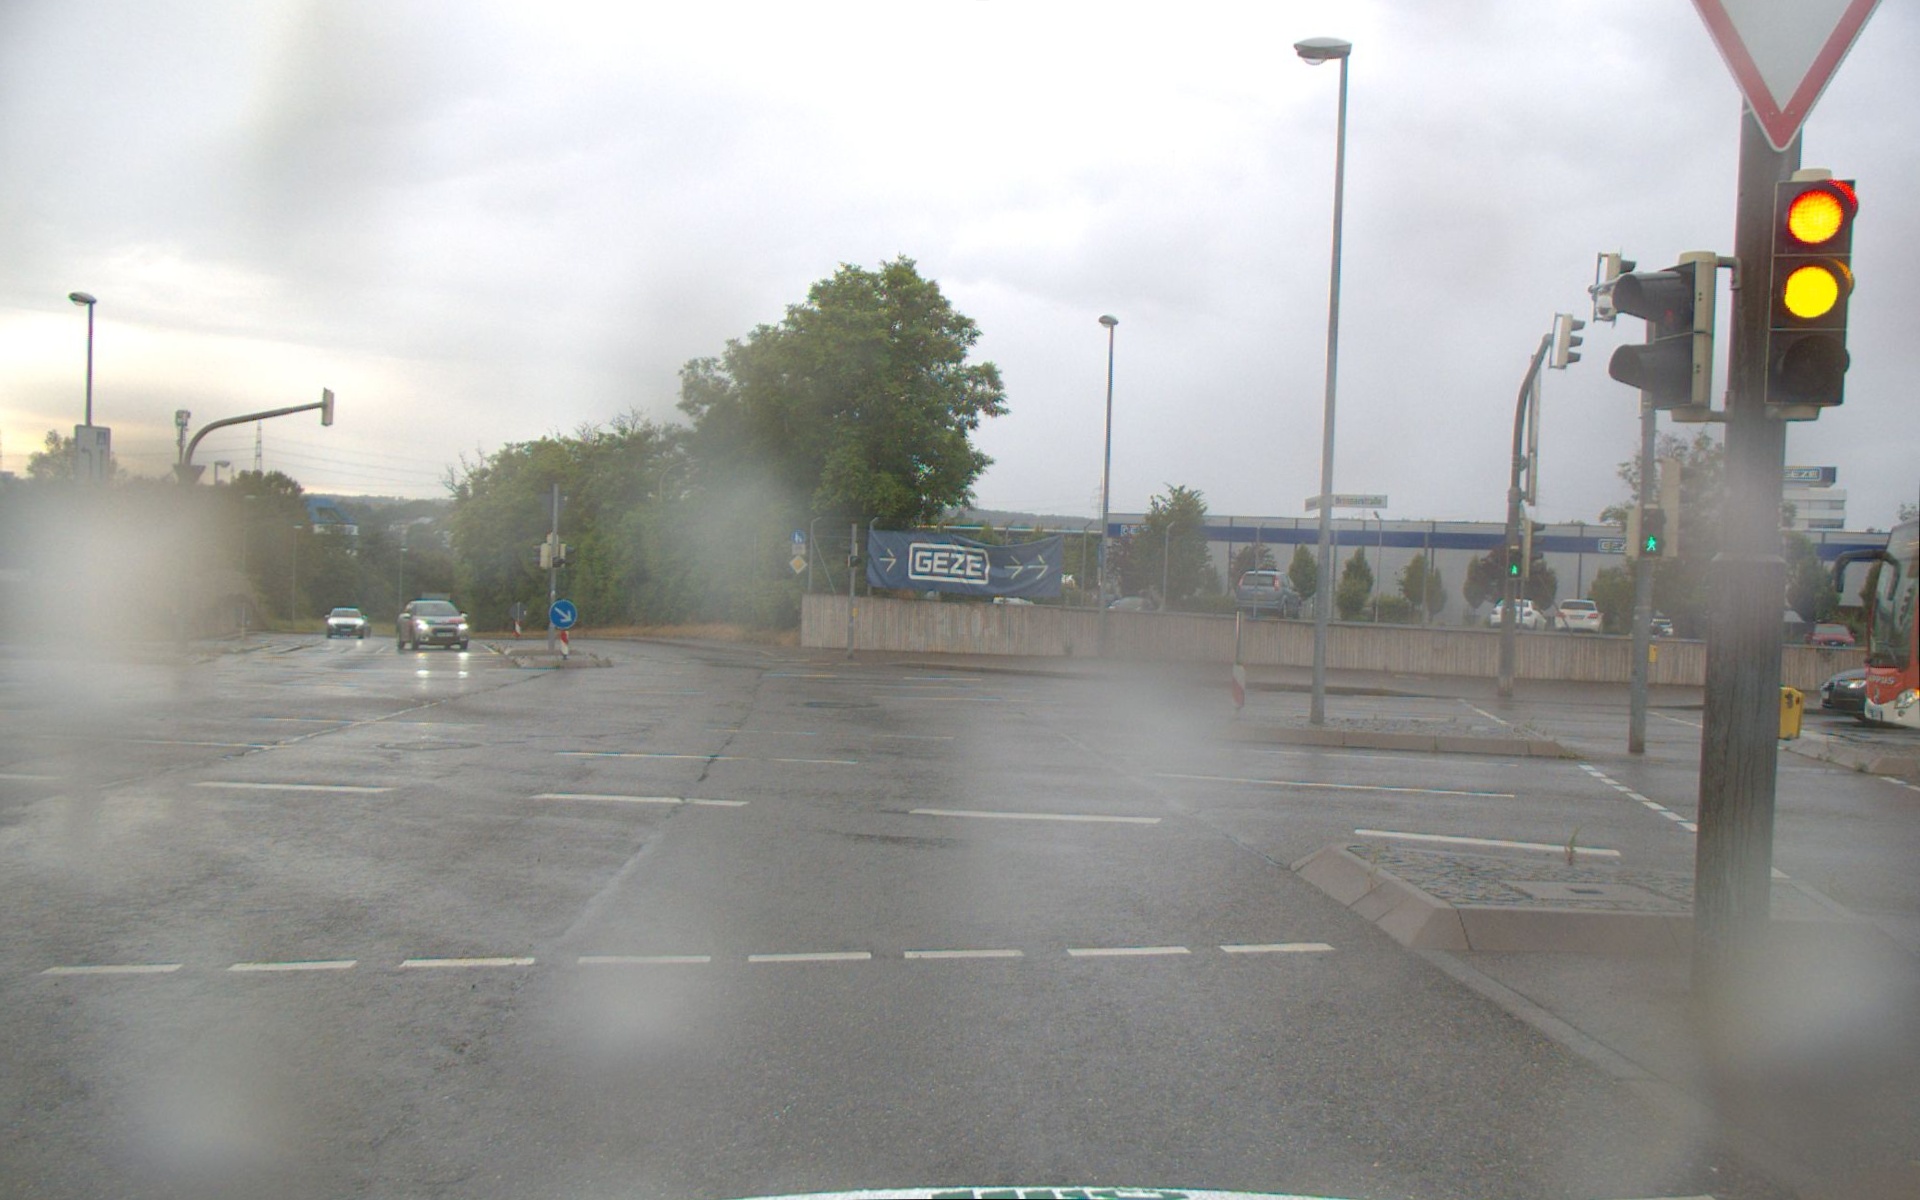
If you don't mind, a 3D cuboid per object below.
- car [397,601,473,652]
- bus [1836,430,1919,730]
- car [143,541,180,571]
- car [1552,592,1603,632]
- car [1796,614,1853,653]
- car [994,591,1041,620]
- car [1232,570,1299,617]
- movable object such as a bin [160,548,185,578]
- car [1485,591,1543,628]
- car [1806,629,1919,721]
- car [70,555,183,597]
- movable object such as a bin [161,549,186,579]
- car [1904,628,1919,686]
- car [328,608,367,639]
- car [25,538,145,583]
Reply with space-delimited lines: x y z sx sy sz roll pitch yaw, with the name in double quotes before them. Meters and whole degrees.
"car" -16.551 0.817 52.003 1.641 1.521 3.965 1 -1 -27
"bus" 17.625 0.074 19.919 11.995 3.638 2.988 3 0 17
"car" -46.084 -2.498 95.464 1.806 1.467 3.964 3 -2 -27
"car" 25.454 0.504 68.101 1.820 1.552 4.103 1 0 22
"car" 38.593 1.459 73.903 1.883 1.616 3.788 2 0 22
"car" 3.356 0.304 95.946 1.632 1.634 3.531 1 0 20
"car" 10.652 -0.213 57.599 1.707 1.580 3.531 1 0 20
"movable object such as a bin" -40.985 -1.902 86.061 1.071 1.462 1.434 3 -2 -27
"car" 23.038 0.418 68.695 1.781 1.459 4.100 1 0 25
"car" 16.222 1.235 26.682 4.286 1.378 1.827 2 0 16
"car" -35.613 -1.034 70.700 3.902 1.614 1.903 1 -2 12
"movable object such as a bin" -41.614 -1.907 87.485 1.071 1.462 1.434 3 -2 -27
"car" 34.841 2.029 58.667 1.707 2.049 3.824 1 0 20
"car" -31.620 1.203 85.492 1.693 1.521 3.979 1 -1 -18
"car" -35.846 -1.615 67.826 3.902 1.614 1.903 1 -2 8
